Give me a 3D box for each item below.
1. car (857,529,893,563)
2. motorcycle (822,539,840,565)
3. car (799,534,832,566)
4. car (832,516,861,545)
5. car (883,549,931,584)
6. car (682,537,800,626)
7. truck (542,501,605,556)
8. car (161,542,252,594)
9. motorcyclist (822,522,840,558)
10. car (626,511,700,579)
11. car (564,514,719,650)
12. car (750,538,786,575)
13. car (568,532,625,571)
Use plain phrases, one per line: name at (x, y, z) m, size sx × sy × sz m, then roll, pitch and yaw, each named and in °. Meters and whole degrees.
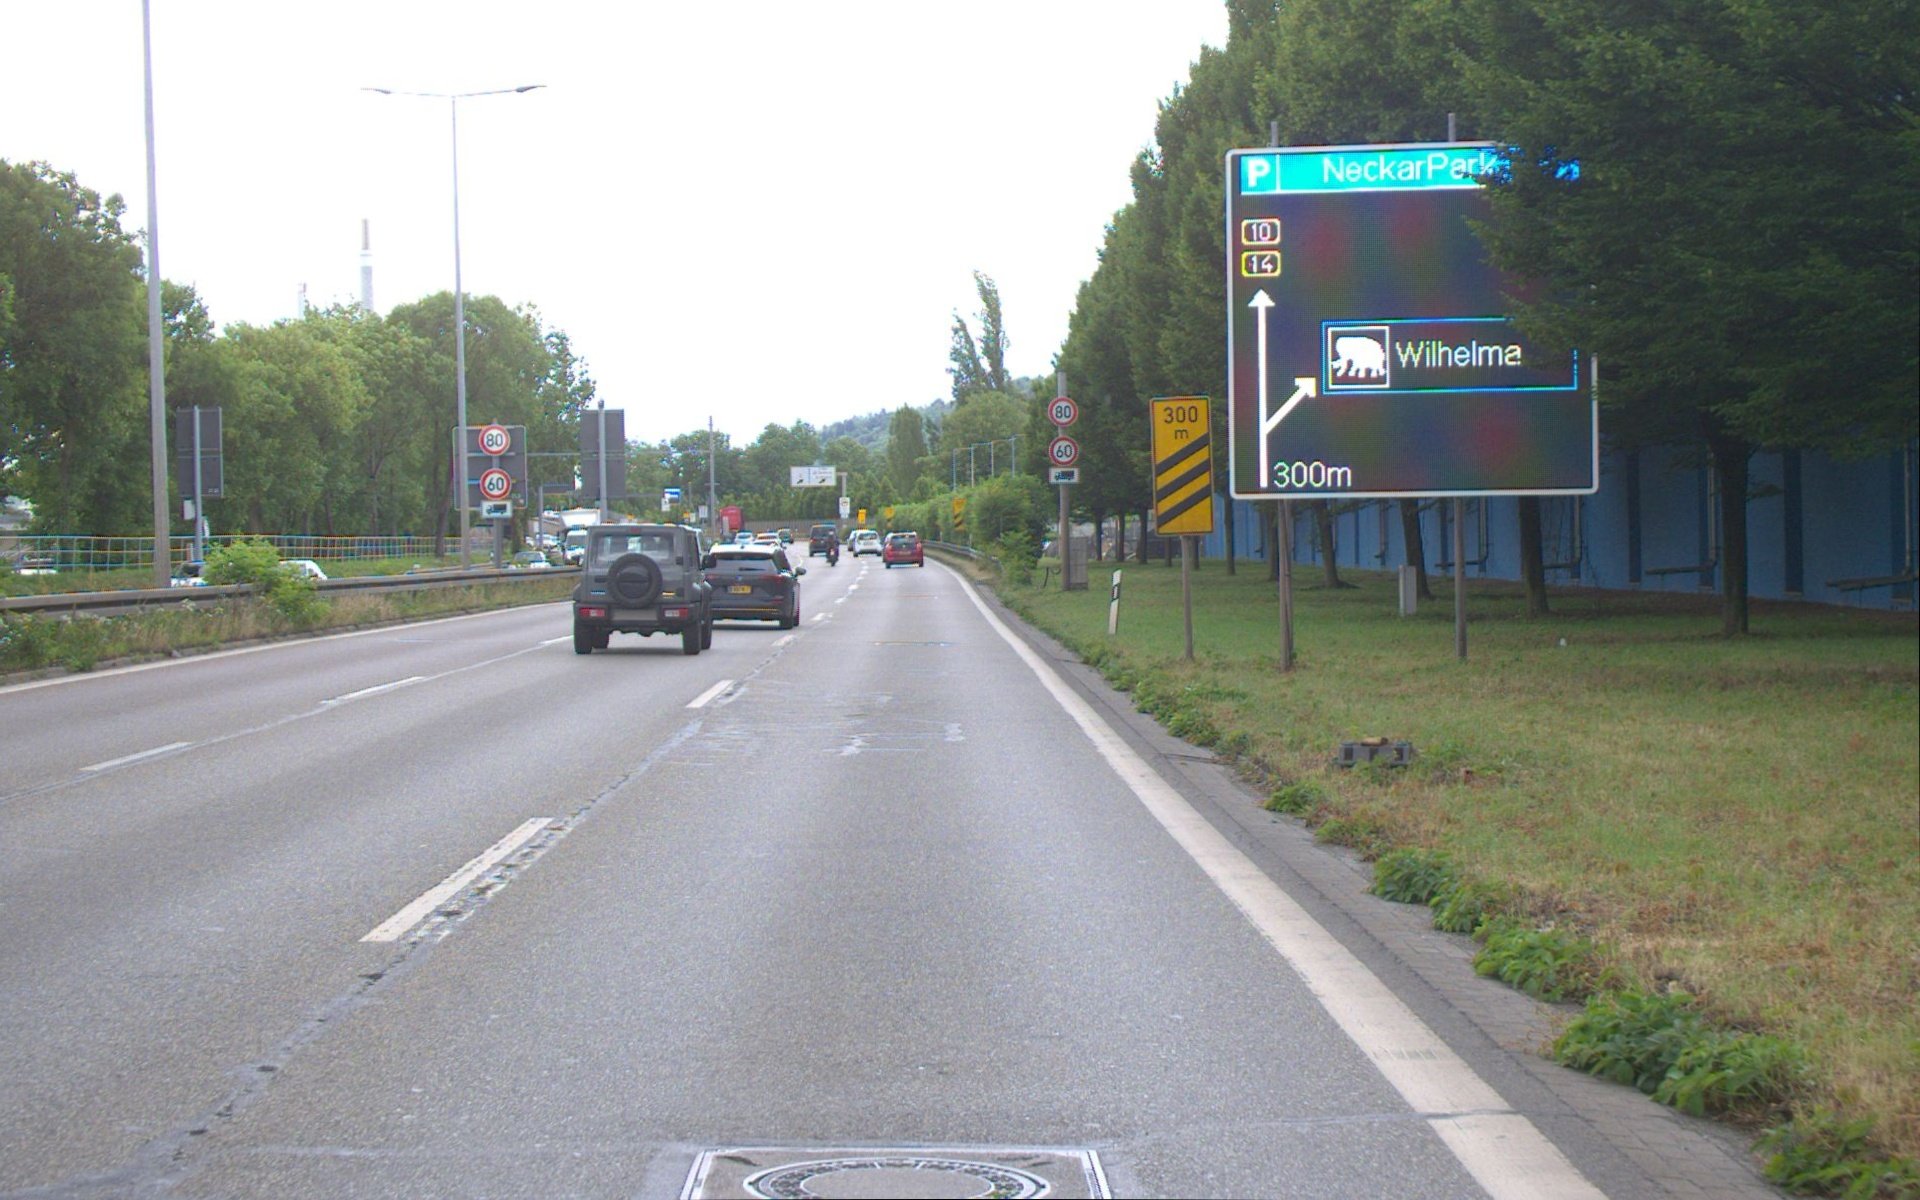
car at (-5.099, -3.211, 205.670) m, size 2.013 × 1.927 × 4.901 m, roll -2°, pitch 1°, yaw -2°
motorcycle at (-6.247, -2.346, 166.618) m, size 0.791 × 1.215 × 2.330 m, roll -1°, pitch 1°, yaw -1°
car at (-9.273, -3.214, 220.754) m, size 2.013 × 1.927 × 4.901 m, roll -2°, pitch 1°, yaw -2°
car at (-8.077, -4.930, 244.707) m, size 2.013 × 1.927 × 4.901 m, roll -2°, pitch 1°, yaw -2°
car at (-2.329, -1.488, 151.164) m, size 1.974 × 1.418 × 4.901 m, roll -2°, pitch 1°, yaw -2°
car at (-3.765, -0.343, 59.746) m, size 1.845 × 1.418 × 4.901 m, roll -2°, pitch 1°, yaw -2°
truck at (-26.271, -4.871, 234.077) m, size 2.889 × 3.566 × 9.587 m, roll -2°, pitch 1°, yaw 1°
car at (-22.745, -0.993, 103.882) m, size 1.878 × 1.484 × 4.202 m, roll -1°, pitch 1°, yaw -1°
motorcyclist at (-6.250, -2.904, 166.702) m, size 0.791 × 1.754 × 0.923 m, roll 0°, pitch 1°, yaw 0°
car at (-7.887, -1.476, 91.533) m, size 1.697 × 1.736 × 4.001 m, roll 1°, pitch 1°, yaw -2°
car at (-4.180, -0.274, 45.640) m, size 1.697 × 1.680 × 4.000 m, roll 2°, pitch 1°, yaw -1°
car at (-9.647, -2.196, 172.829) m, size 1.697 × 1.736 × 4.394 m, roll -2°, pitch 1°, yaw -4°
car at (-18.906, -2.516, 179.002) m, size 2.226 × 1.941 × 5.474 m, roll -1°, pitch 1°, yaw 1°
